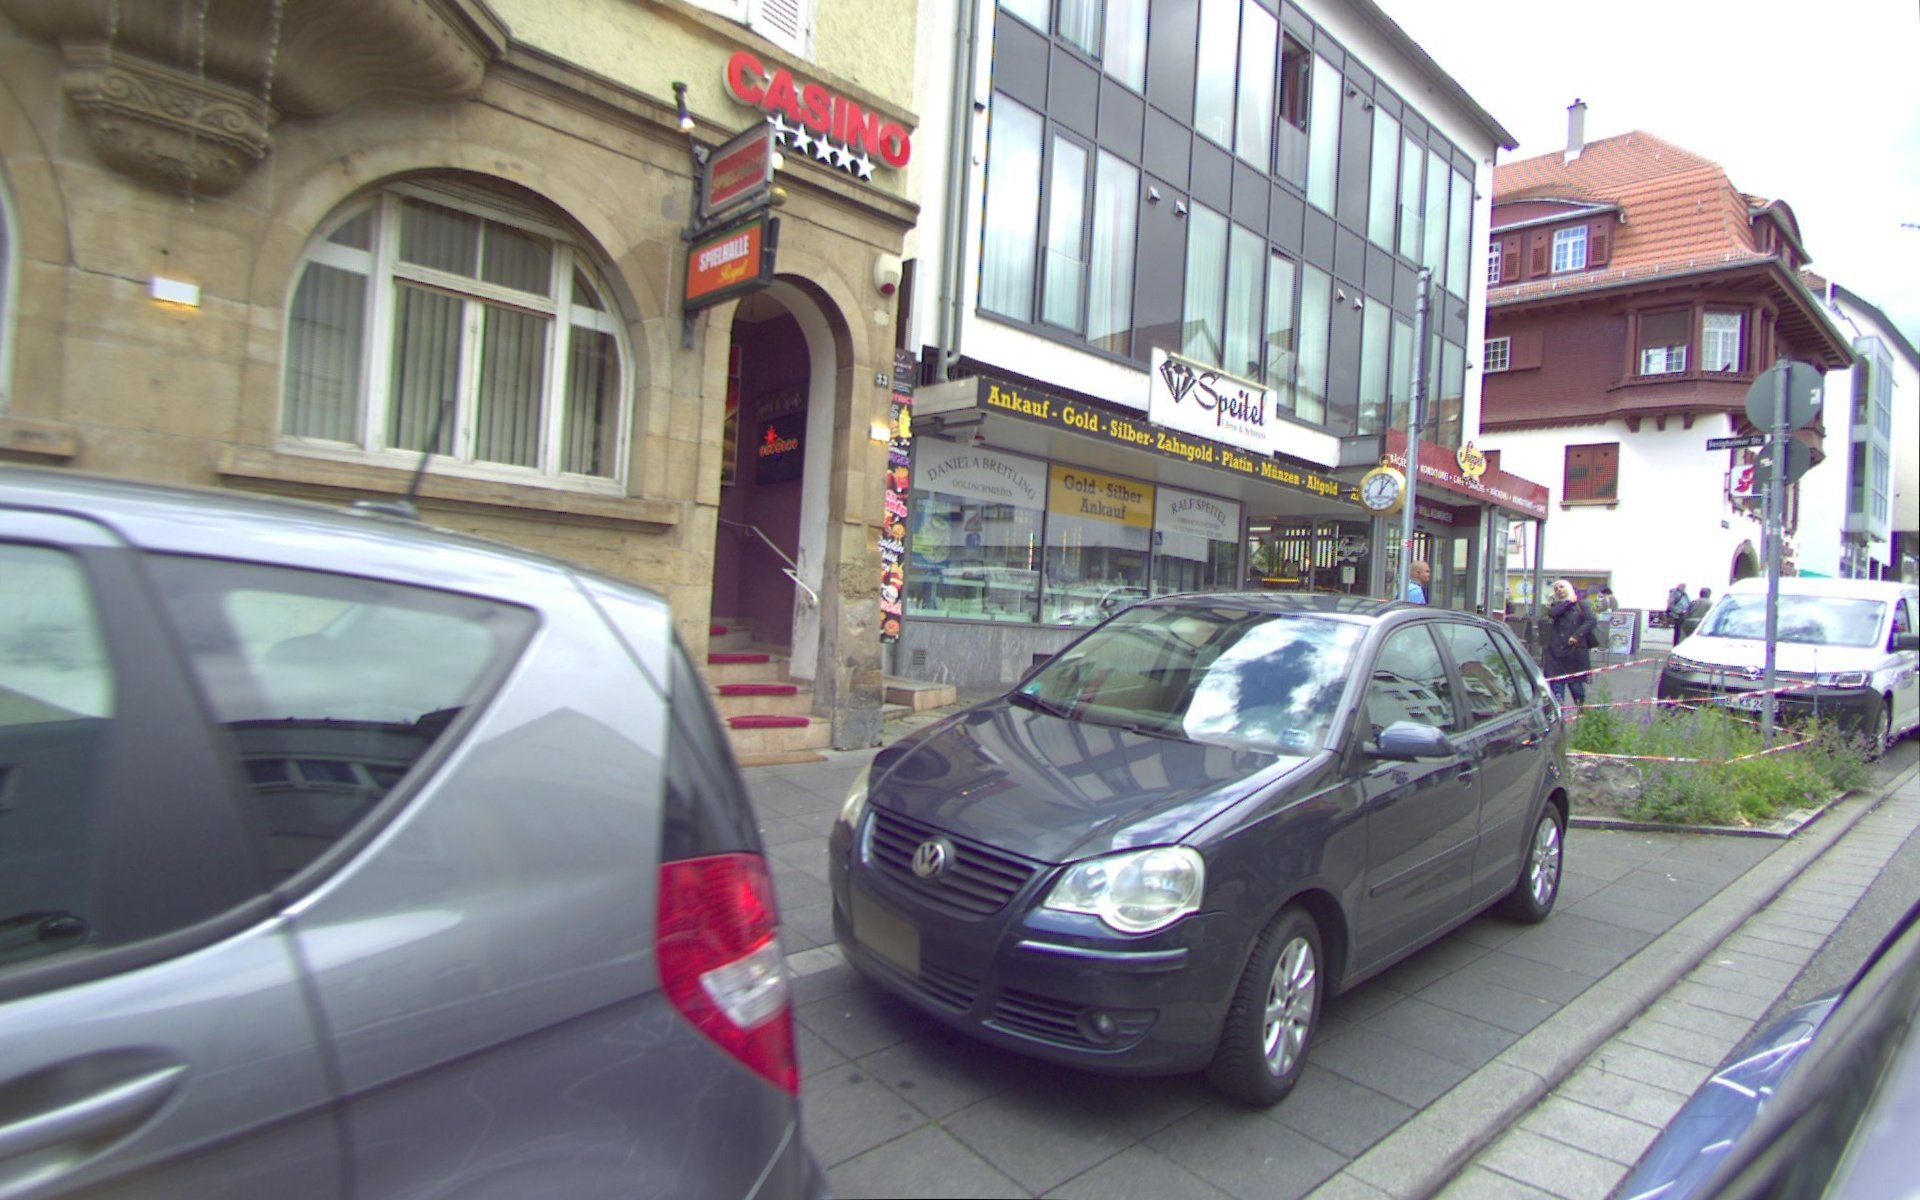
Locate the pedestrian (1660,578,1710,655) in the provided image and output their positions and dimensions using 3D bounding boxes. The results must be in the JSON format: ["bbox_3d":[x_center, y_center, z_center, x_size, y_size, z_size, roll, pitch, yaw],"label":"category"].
[{"bbox_3d":[17.304,0.381,24.158,0.803,1.791,0.776,0,1,-39],"label":"pedestrian"}]

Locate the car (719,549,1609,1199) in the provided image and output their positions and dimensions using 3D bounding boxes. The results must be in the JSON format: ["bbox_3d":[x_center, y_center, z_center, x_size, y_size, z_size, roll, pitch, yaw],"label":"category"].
[{"bbox_3d":[1.142,0.624,4.228,3.810,1.527,1.750,0,3,-44],"label":"car"}]

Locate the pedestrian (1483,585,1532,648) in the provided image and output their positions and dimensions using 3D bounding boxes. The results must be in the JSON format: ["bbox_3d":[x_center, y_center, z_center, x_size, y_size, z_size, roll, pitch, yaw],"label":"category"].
[{"bbox_3d":[13.954,0.408,25.805,0.792,1.549,0.727,1,3,-35],"label":"pedestrian"}]

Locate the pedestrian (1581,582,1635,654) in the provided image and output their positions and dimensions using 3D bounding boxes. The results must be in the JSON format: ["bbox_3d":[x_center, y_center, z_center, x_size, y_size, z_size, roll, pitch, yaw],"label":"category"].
[{"bbox_3d":[15.661,0.423,24.471,0.853,1.665,0.775,1,2,-35],"label":"pedestrian"}]

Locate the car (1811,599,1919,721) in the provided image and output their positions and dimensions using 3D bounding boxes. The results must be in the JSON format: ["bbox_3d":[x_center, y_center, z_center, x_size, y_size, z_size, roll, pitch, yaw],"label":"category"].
[{"bbox_3d":[13.282,0.760,14.122,3.933,1.486,1.705,0,2,-44],"label":"car"}]

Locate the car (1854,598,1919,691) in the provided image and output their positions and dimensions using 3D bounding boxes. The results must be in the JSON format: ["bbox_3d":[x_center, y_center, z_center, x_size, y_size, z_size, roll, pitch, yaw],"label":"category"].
[{"bbox_3d":[17.956,0.770,18.576,3.884,1.575,1.807,0,0,-41],"label":"car"}]

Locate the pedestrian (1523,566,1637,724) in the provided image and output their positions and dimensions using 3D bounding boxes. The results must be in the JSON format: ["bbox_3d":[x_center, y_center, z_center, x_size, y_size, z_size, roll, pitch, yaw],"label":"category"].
[{"bbox_3d":[6.990,0.474,11.423,0.786,1.686,0.827,1,1,-35],"label":"pedestrian"}]

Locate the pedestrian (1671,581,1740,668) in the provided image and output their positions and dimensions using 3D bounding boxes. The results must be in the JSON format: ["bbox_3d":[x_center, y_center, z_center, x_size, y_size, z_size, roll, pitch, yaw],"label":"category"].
[{"bbox_3d":[15.371,0.484,20.863,0.927,1.728,0.867,1,1,-35],"label":"pedestrian"}]

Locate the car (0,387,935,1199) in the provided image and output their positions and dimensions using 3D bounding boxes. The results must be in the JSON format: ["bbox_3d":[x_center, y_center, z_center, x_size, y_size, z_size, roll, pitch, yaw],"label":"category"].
[{"bbox_3d":[-2.046,0.602,0.859,3.732,1.627,1.753,0,3,-39],"label":"car"}]

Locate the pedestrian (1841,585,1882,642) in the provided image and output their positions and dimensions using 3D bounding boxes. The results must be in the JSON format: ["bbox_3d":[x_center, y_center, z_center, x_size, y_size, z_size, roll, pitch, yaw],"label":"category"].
[{"bbox_3d":[28.483,0.422,31.983,0.612,1.789,0.704,1,1,-15],"label":"pedestrian"}]

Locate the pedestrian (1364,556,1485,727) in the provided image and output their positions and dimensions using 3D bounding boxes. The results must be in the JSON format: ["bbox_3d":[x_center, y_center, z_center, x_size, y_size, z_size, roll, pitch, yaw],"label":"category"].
[{"bbox_3d":[5.066,0.415,11.033,1.034,1.748,0.798,0,1,-41],"label":"pedestrian"}]

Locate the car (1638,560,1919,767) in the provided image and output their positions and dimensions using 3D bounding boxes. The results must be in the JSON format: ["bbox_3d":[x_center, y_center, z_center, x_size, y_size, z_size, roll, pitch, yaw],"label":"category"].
[{"bbox_3d":[9.390,0.545,11.082,4.645,1.822,1.882,0,1,-38],"label":"car"}]
